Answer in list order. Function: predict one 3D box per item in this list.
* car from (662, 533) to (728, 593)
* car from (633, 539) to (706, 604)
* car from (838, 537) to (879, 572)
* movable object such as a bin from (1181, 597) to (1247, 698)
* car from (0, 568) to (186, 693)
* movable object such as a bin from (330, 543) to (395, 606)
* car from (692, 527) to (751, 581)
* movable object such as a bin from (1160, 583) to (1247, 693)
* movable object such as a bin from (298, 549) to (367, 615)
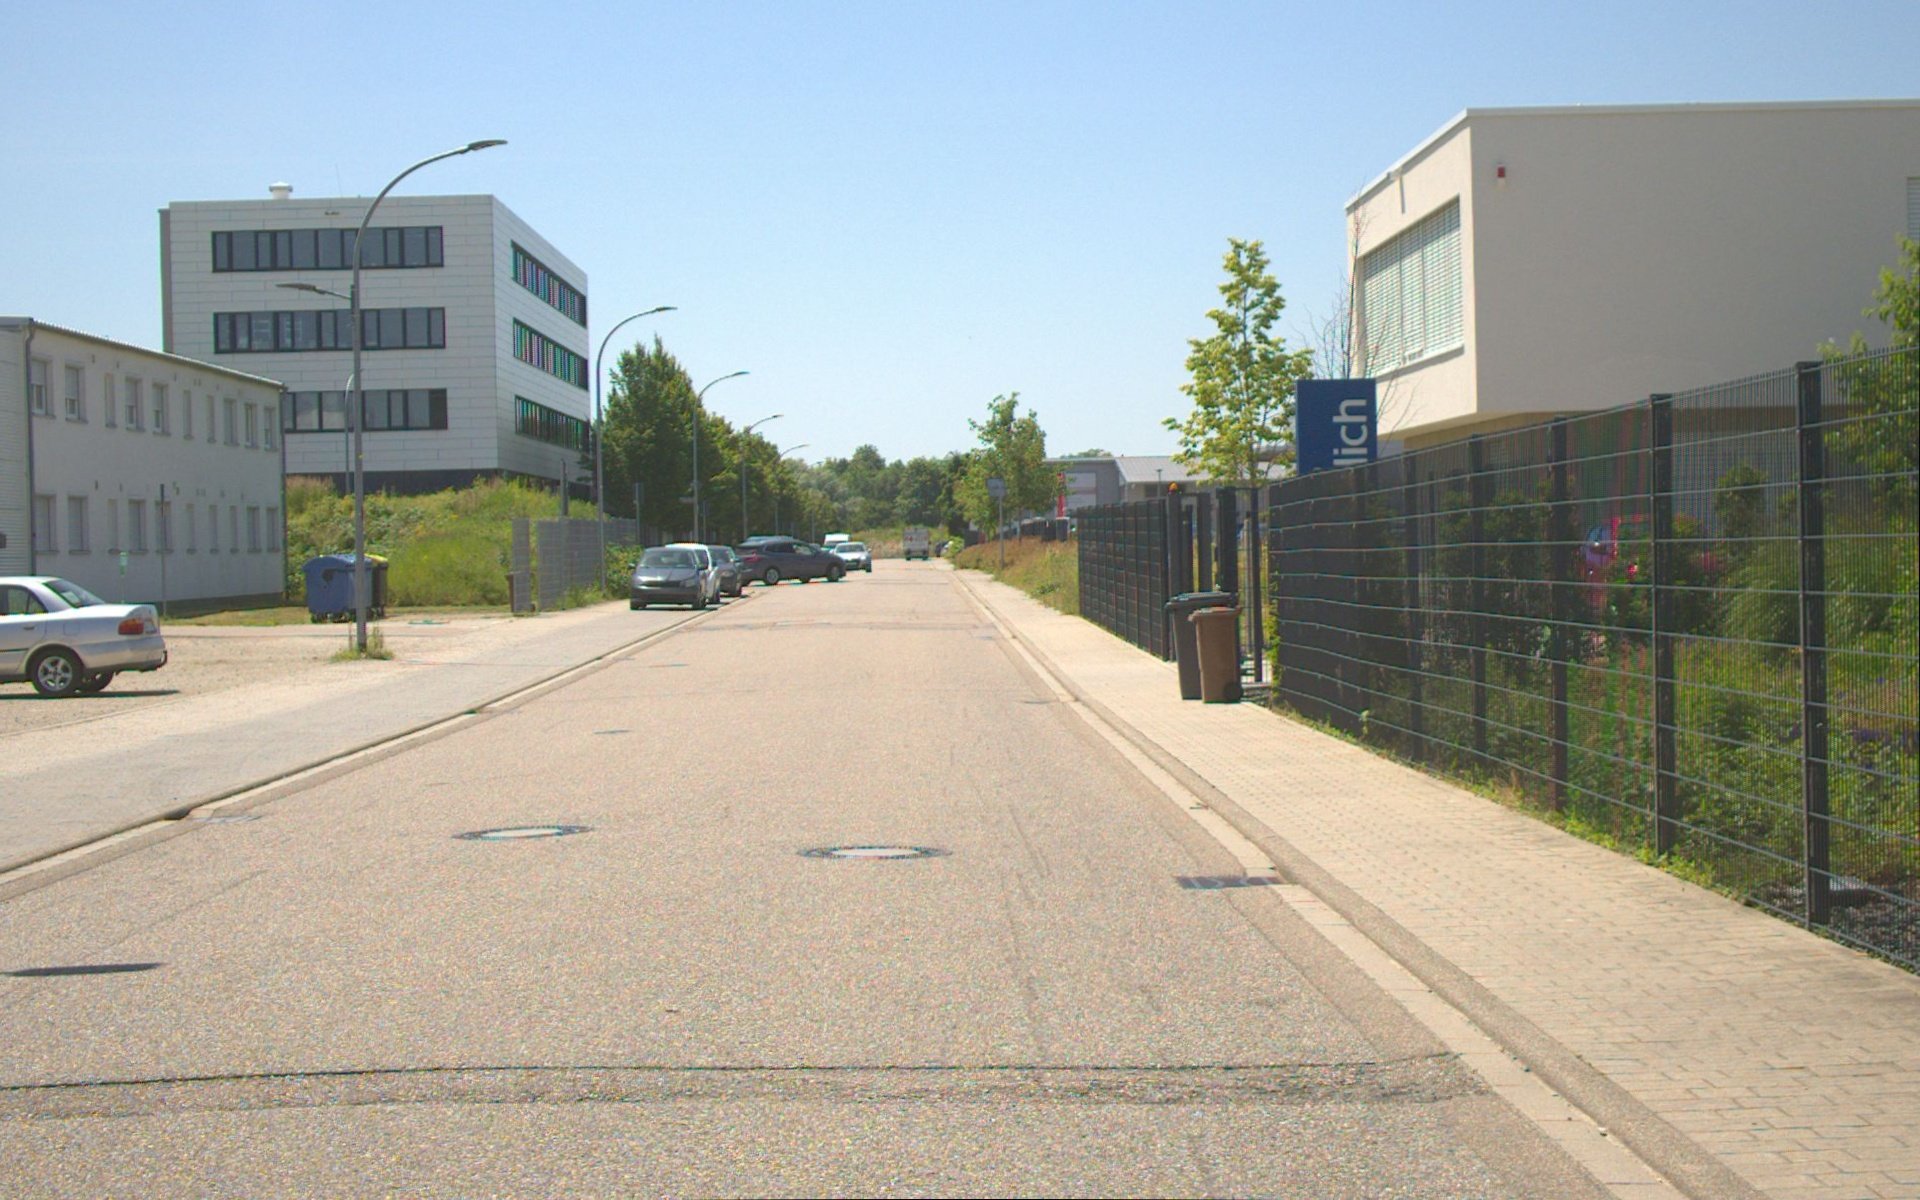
[{"bbox_3d":[-6.810,-0.959,88.532,1.466,1.484,3.207,-1,1,0],"label":"car"},{"bbox_3d":[-6.871,-0.690,81.525,1.466,1.484,3.207,-1,1,0],"label":"car"},{"bbox_3d":[-4.687,-2.100,159.383,1.804,1.551,4.000,-1,1,-1],"label":"car"},{"bbox_3d":[2.494,0.463,33.758,0.552,0.925,0.522,-5,2,4],"label":"movable object such as a bin"},{"bbox_3d":[-11.436,0.380,40.271,4.277,1.360,1.898,-2,1,0],"label":"car"},{"bbox_3d":[-13.688,-0.591,78.815,1.285,1.407,1.807,-1,1,-5],"label":"movable object such as a bin"},{"bbox_3d":[-6.752,-1.316,97.607,1.466,1.484,3.207,-1,1,0],"label":"car"},{"bbox_3d":[2.455,0.380,34.740,0.779,1.016,0.665,-5,2,4],"label":"movable object such as a bin"},{"bbox_3d":[-13.719,-0.399,75.226,1.285,1.407,1.807,-1,1,-5],"label":"movable object such as a bin"}]
